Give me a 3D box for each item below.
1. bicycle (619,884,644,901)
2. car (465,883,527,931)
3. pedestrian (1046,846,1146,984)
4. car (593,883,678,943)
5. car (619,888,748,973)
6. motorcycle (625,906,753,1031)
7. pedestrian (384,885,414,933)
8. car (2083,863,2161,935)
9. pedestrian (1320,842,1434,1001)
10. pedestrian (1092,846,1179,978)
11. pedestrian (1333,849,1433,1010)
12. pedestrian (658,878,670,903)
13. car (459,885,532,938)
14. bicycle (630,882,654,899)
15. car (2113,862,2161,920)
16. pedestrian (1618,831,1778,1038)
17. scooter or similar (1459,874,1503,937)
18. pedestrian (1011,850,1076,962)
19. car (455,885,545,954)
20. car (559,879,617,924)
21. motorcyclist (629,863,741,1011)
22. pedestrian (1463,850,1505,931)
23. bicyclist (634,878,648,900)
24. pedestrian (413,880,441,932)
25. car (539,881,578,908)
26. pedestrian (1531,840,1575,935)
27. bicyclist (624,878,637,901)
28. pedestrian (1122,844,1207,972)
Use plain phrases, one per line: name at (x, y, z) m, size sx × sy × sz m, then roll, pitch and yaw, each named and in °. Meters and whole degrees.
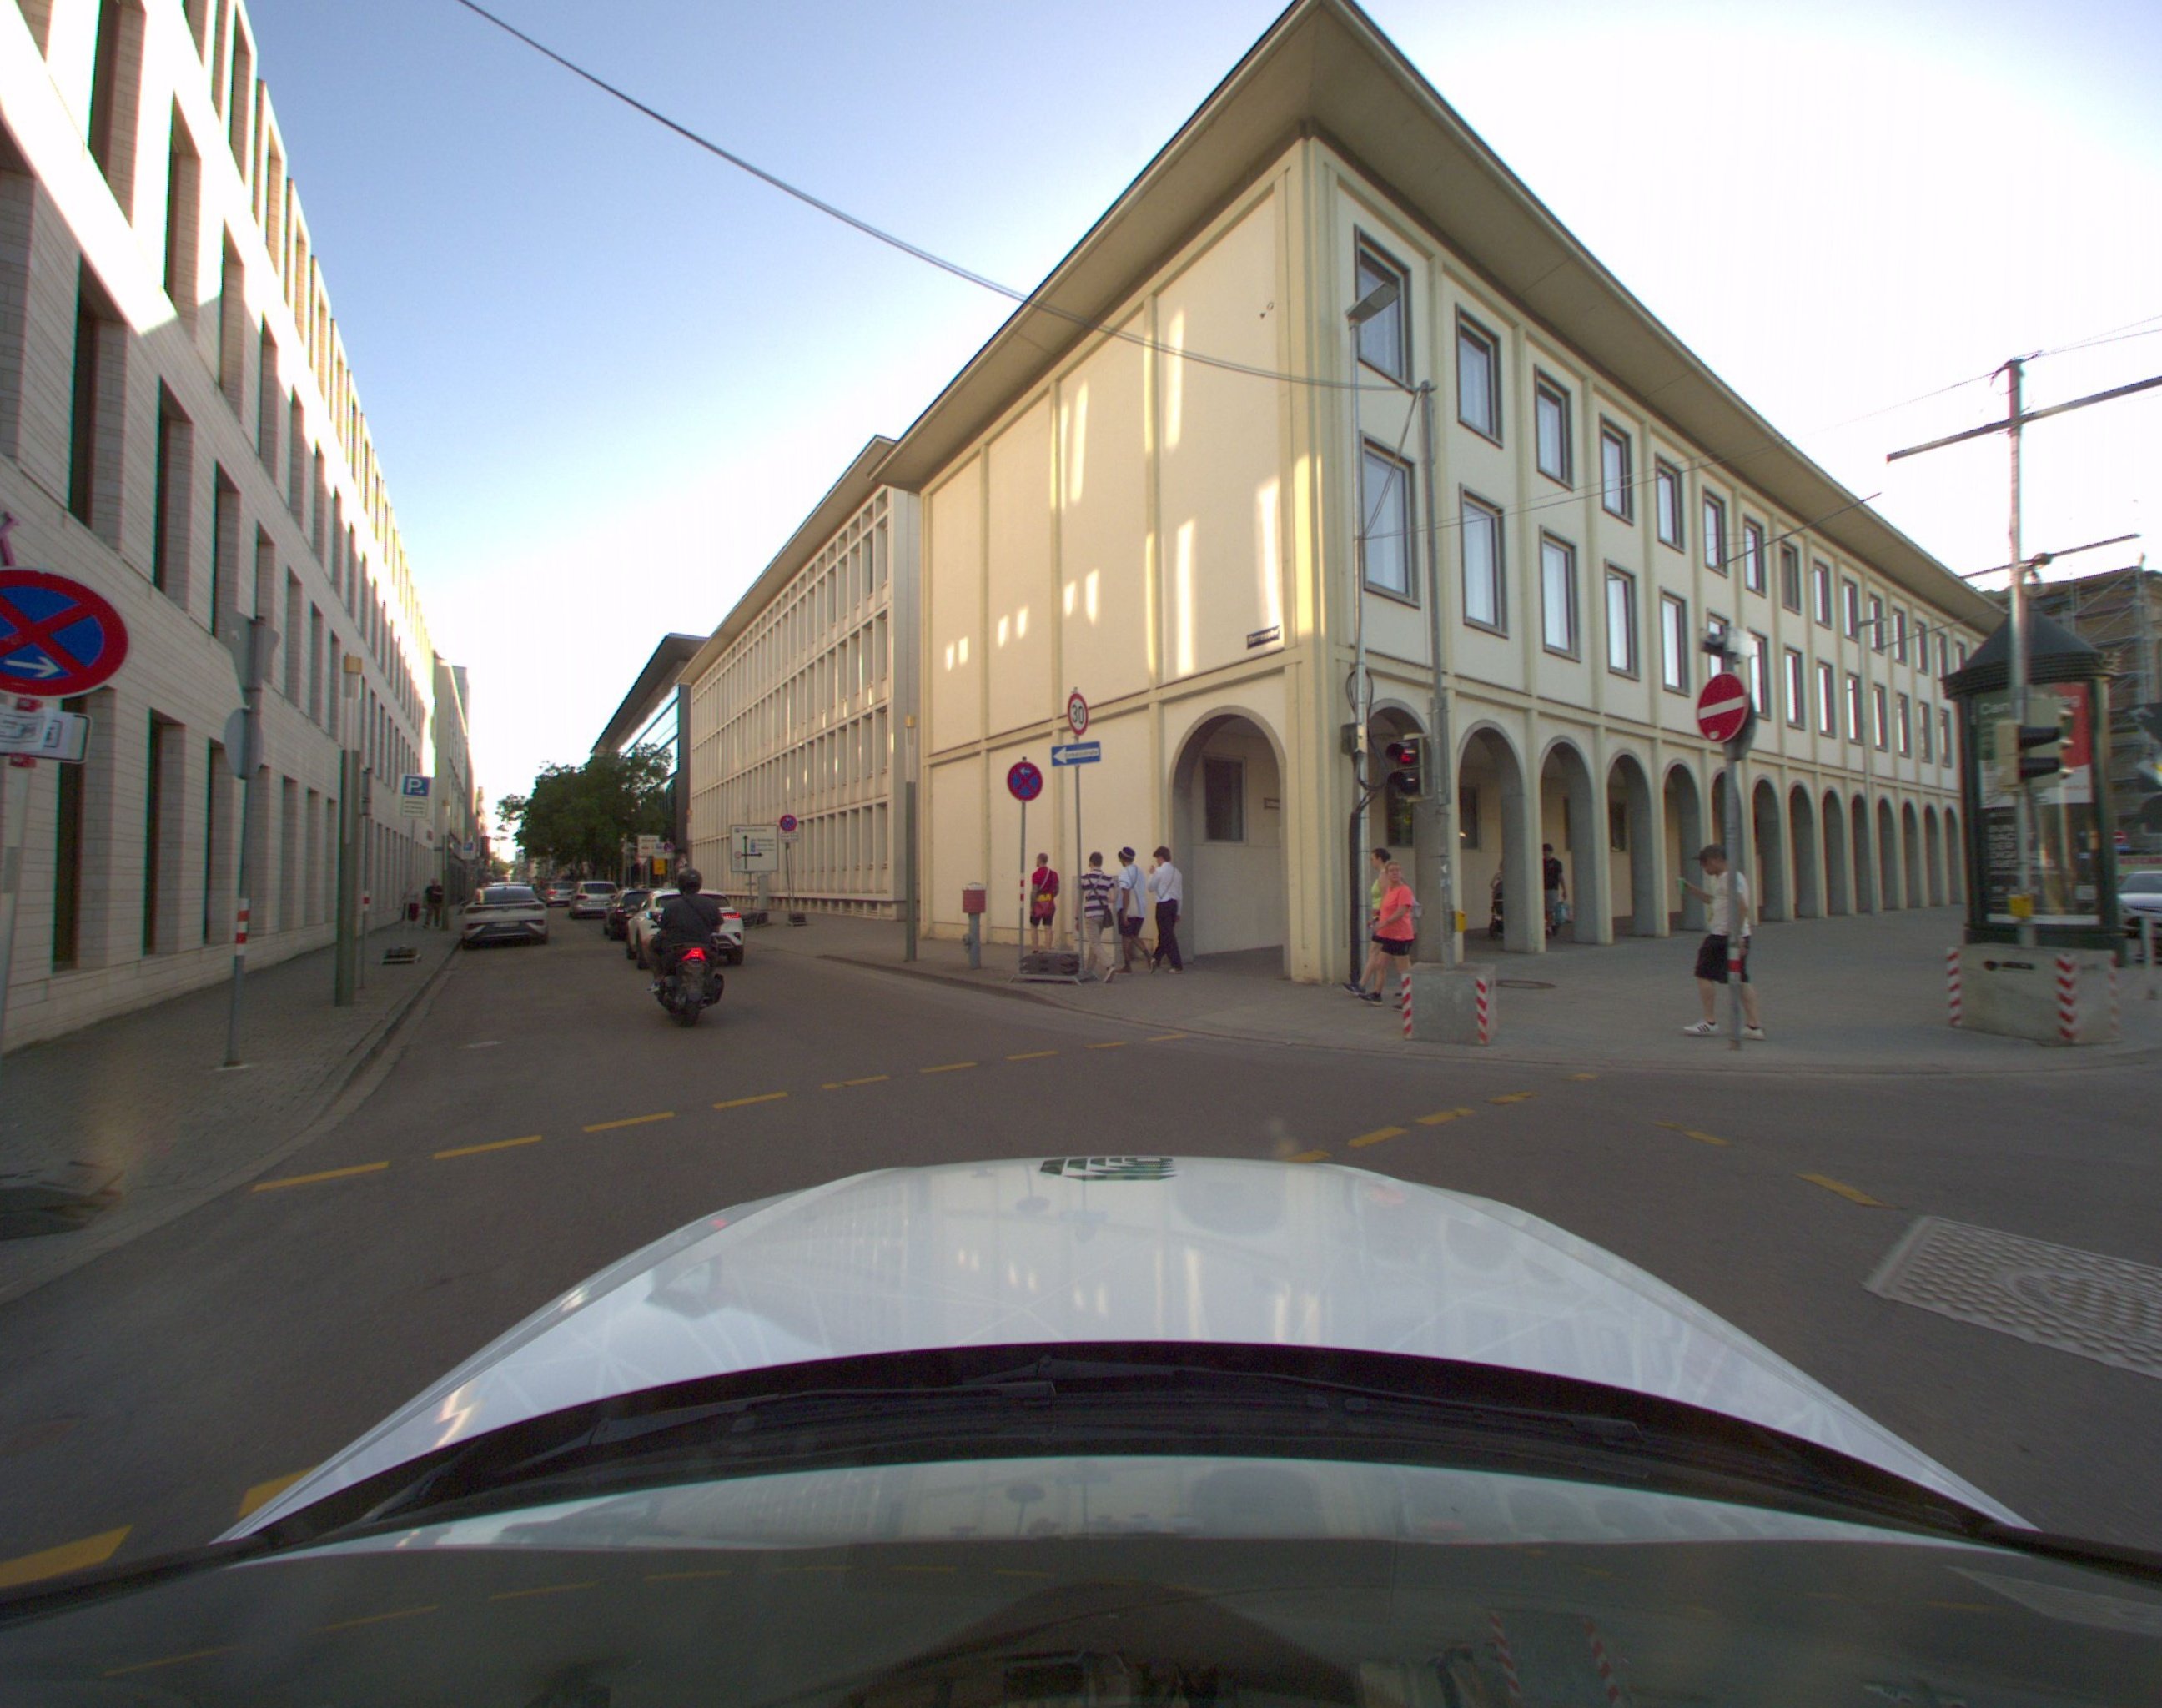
bicycle at (-34.369, 2.921, 62.225) m, size 1.566 × 1.250 × 0.549 m, roll -1°, pitch -2°, yaw -15°
car at (-22.440, 1.989, 31.283) m, size 1.824 × 1.646 × 3.476 m, roll -2°, pitch -1°, yaw -36°
pedestrian at (0.199, 0.821, 11.491) m, size 0.720 × 1.802 × 1.233 m, roll -3°, pitch 0°, yaw -36°
car at (-13.222, 1.673, 24.059) m, size 1.787 × 1.550 × 4.062 m, roll -1°, pitch -1°, yaw -35°
car at (-8.085, 1.429, 16.382) m, size 1.872 × 1.472 × 3.958 m, roll 2°, pitch -3°, yaw -33°
motorcycle at (-4.636, 1.236, 9.501) m, size 0.913 × 1.183 × 2.550 m, roll 0°, pitch -2°, yaw -36°
pedestrian at (-23.963, 1.909, 28.626) m, size 0.710 × 1.614 × 0.851 m, roll 0°, pitch -2°, yaw -35°
car at (23.834, 0.979, 17.843) m, size 4.014 × 1.466 × 1.911 m, roll 2°, pitch -1°, yaw -32°
pedestrian at (3.435, 0.741, 9.478) m, size 0.678 × 1.709 × 0.957 m, roll -3°, pitch 1°, yaw -36°
pedestrian at (0.777, 0.802, 11.656) m, size 0.714 × 1.777 × 0.931 m, roll -3°, pitch 0°, yaw -36°
pedestrian at (3.267, 0.781, 8.820) m, size 0.623 × 1.624 × 0.719 m, roll -3°, pitch 1°, yaw -36°
pedestrian at (-27.602, 2.408, 53.906) m, size 0.647 × 1.601 × 0.613 m, roll -1°, pitch -2°, yaw -33°
car at (-19.239, 1.830, 26.791) m, size 1.824 × 1.527 × 3.476 m, roll -2°, pitch -1°, yaw -36°
bicycle at (-34.318, 2.844, 63.679) m, size 1.566 × 1.250 × 0.549 m, roll -1°, pitch -2°, yaw -15°
car at (29.171, 0.977, 21.541) m, size 4.014 × 1.466 × 1.911 m, roll 2°, pitch -1°, yaw -32°
pedestrian at (5.621, 0.680, 7.437) m, size 0.802 × 1.728 × 0.967 m, roll 1°, pitch -1°, yaw -36°
scooter or similar at (8.018, 1.016, 16.317) m, size 0.612 × 1.157 × 0.964 m, roll -3°, pitch 1°, yaw 35°
pedestrian at (-0.646, 0.868, 13.921) m, size 0.714 × 1.802 × 0.767 m, roll -3°, pitch 0°, yaw -36°
car at (-15.948, 1.710, 22.389) m, size 1.824 × 1.606 × 4.220 m, roll -2°, pitch -1°, yaw -36°
car at (-22.355, 2.118, 36.847) m, size 1.939 × 1.857 × 3.956 m, roll -1°, pitch -2°, yaw -36°
motorcyclist at (-4.595, 0.905, 9.419) m, size 0.961 × 1.560 × 1.225 m, roll 0°, pitch -2°, yaw -36°
pedestrian at (8.447, 0.751, 17.048) m, size 0.612 × 1.624 × 0.732 m, roll -3°, pitch 1°, yaw 35°
bicyclist at (-34.387, 2.726, 63.673) m, size 0.748 × 1.706 × 0.733 m, roll -1°, pitch -2°, yaw -15°
pedestrian at (-22.940, 1.806, 28.574) m, size 0.710 × 1.786 × 0.719 m, roll 0°, pitch -2°, yaw -36°
car at (-33.278, 2.542, 51.837) m, size 1.912 × 1.596 × 3.956 m, roll 0°, pitch -2°, yaw -35°
pedestrian at (9.556, 0.667, 16.476) m, size 0.634 × 1.840 × 0.732 m, roll -3°, pitch 1°, yaw 35°
bicyclist at (-34.423, 2.692, 62.230) m, size 0.748 × 1.706 × 0.733 m, roll -1°, pitch -2°, yaw -15°
pedestrian at (1.230, 0.770, 12.055) m, size 0.714 × 1.777 × 0.931 m, roll -3°, pitch 0°, yaw -36°
